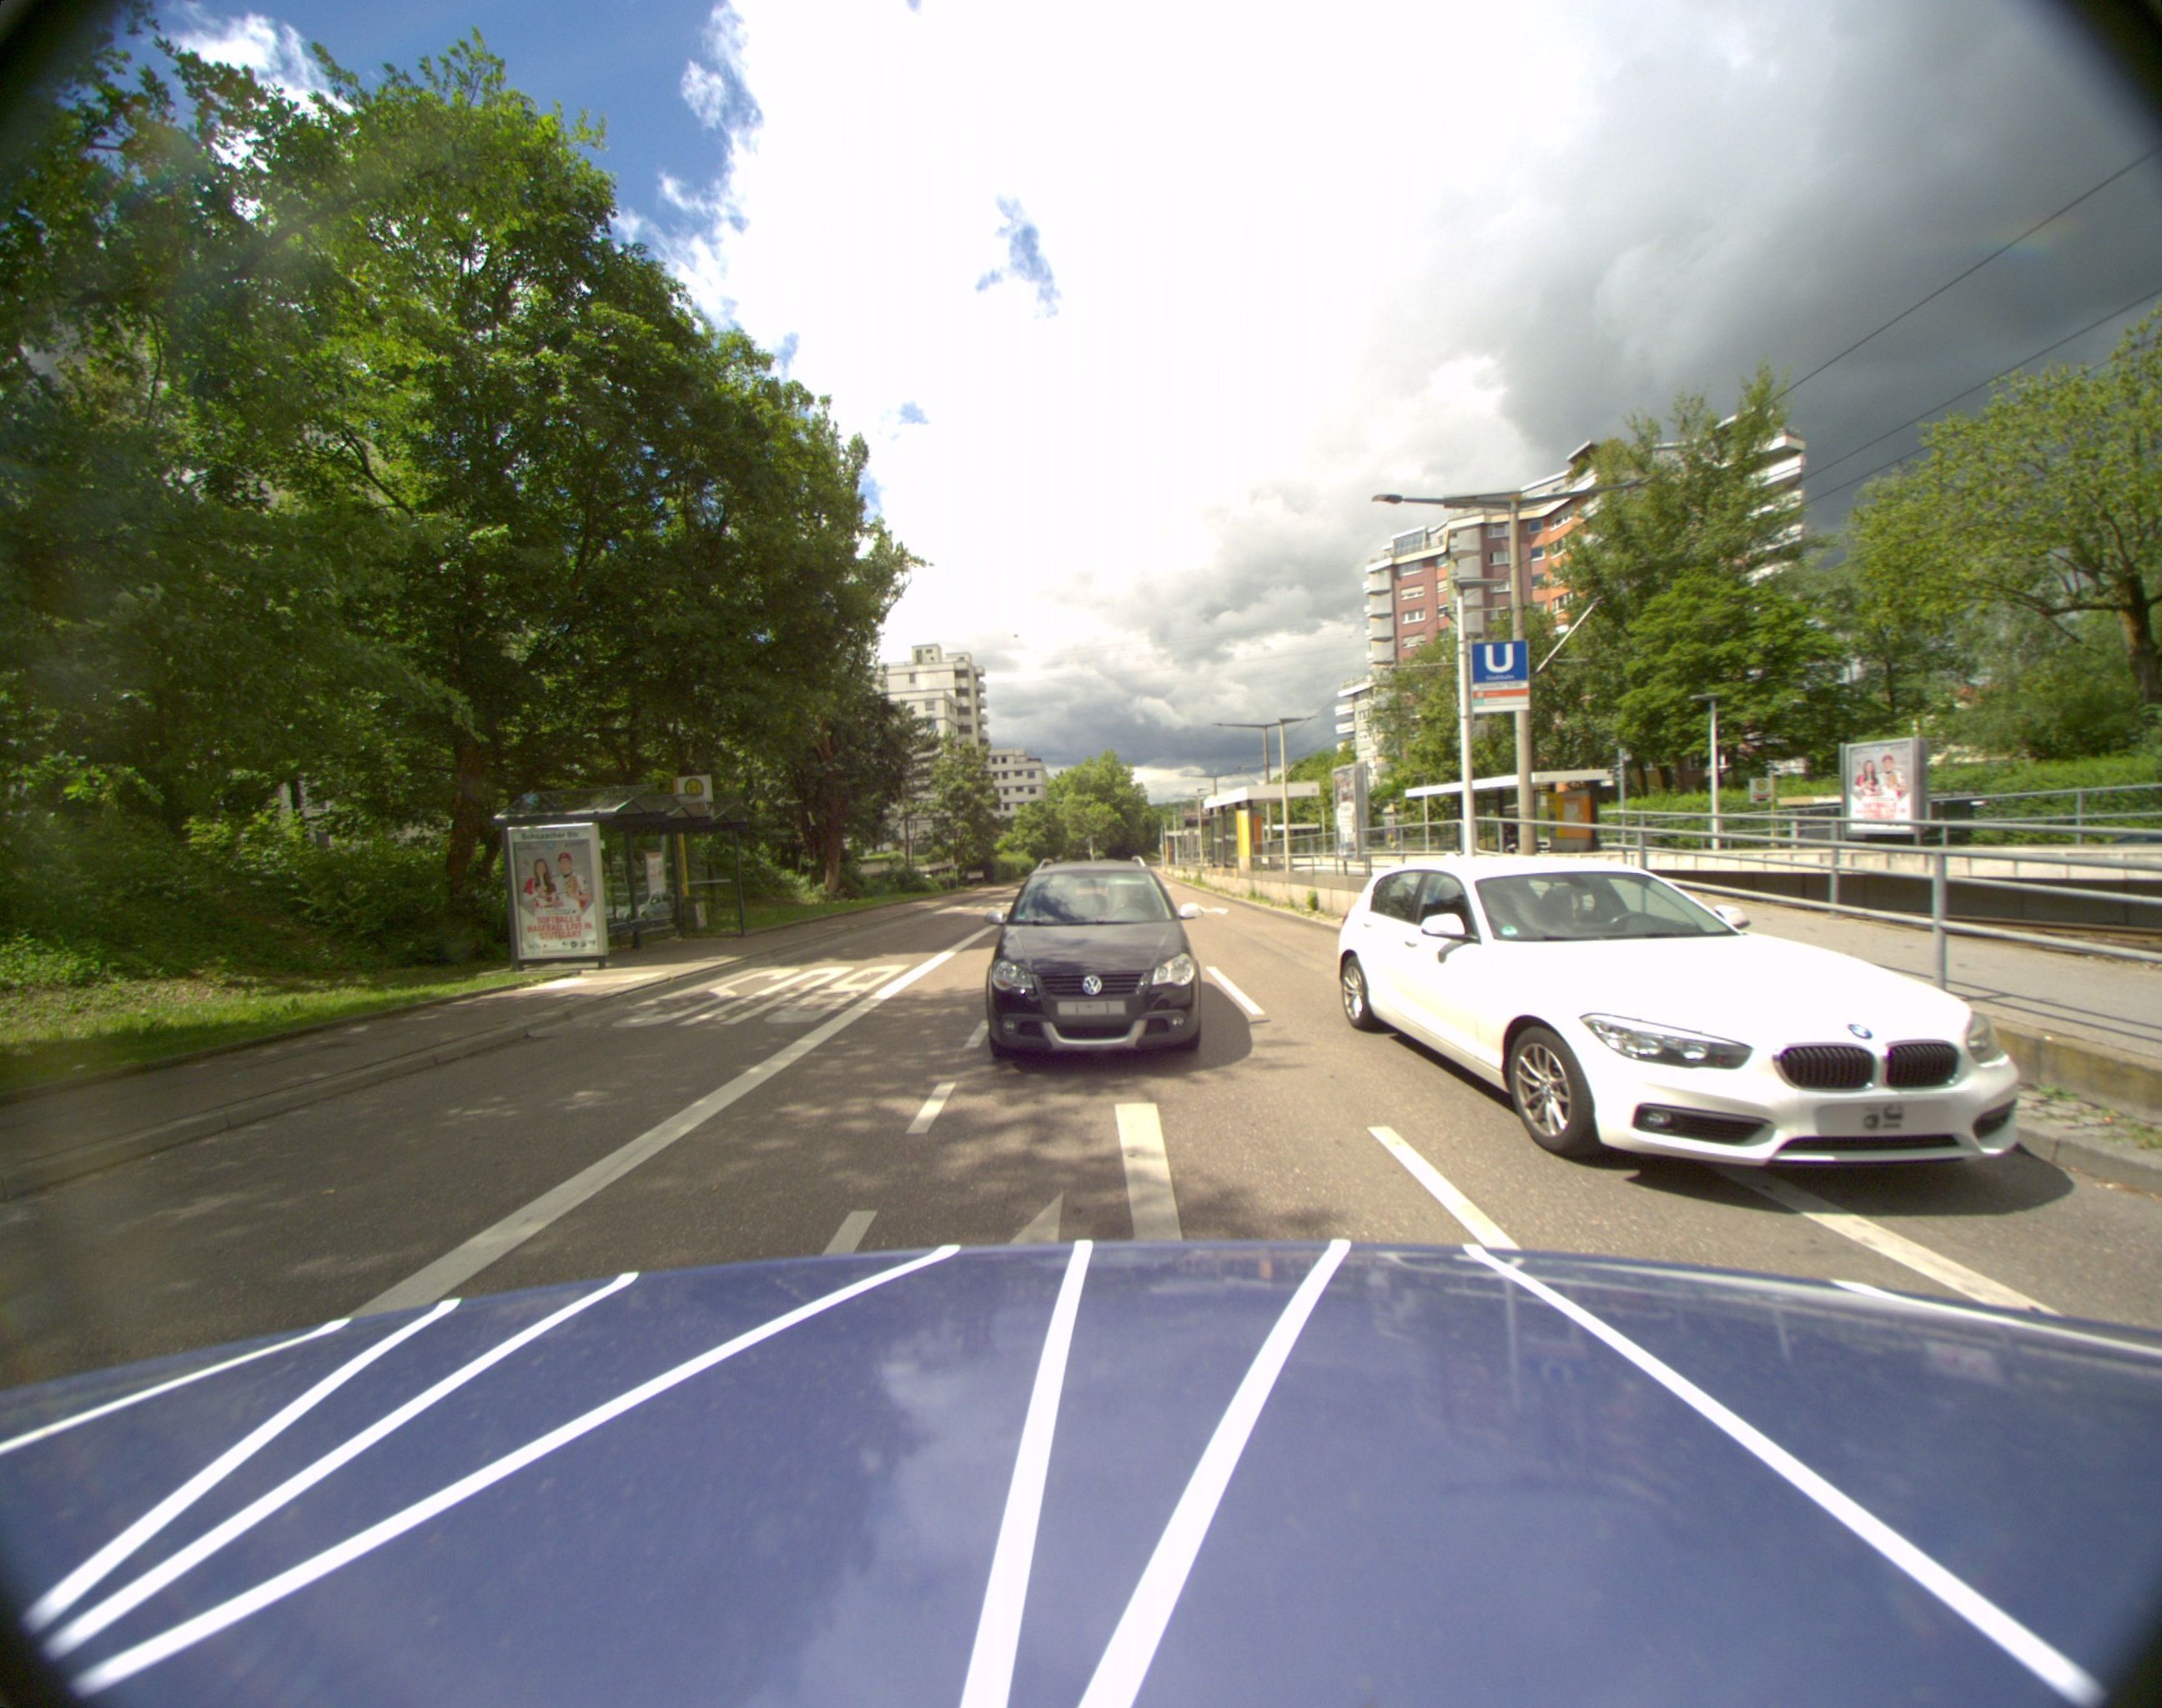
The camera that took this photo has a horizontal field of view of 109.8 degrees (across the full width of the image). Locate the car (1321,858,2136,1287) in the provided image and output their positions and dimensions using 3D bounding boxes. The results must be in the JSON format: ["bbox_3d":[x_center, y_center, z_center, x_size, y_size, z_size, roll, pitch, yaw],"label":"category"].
[{"bbox_3d":[3.010,0.821,4.785,1.732,1.453,4.000,-2,1,1],"label":"car"}]

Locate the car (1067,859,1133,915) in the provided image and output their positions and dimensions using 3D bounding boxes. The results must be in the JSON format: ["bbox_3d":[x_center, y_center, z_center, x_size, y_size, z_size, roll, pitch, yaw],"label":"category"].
[{"bbox_3d":[0.625,0.932,22.804,1.732,1.452,4.001,-2,0,3],"label":"car"}]

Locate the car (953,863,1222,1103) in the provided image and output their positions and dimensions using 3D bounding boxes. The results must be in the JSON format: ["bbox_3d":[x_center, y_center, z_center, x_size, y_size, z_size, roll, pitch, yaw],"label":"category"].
[{"bbox_3d":[0.076,0.883,7.062,1.732,1.501,4.000,-2,0,1],"label":"car"}]

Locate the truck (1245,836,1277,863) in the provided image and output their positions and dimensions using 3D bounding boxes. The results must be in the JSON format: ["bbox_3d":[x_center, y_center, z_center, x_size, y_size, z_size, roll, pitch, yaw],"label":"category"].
[{"bbox_3d":[23.545,-0.541,99.666,2.420,3.203,7.263,-2,0,1],"label":"truck"}]

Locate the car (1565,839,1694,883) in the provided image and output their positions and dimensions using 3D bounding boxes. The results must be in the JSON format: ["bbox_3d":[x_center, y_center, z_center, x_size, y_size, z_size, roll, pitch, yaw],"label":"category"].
[{"bbox_3d":[19.692,0.238,27.515,1.633,1.405,4.254,-2,0,1],"label":"car"}]

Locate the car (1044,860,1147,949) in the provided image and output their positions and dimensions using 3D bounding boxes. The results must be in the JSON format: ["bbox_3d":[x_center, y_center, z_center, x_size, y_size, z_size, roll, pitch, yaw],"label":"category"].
[{"bbox_3d":[0.286,0.898,15.259,1.732,1.453,4.000,-2,0,1],"label":"car"}]

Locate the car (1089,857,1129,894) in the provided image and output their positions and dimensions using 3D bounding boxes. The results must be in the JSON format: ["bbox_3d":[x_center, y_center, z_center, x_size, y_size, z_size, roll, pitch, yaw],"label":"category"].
[{"bbox_3d":[1.275,0.979,35.608,1.732,1.505,4.000,-2,1,1],"label":"car"}]
